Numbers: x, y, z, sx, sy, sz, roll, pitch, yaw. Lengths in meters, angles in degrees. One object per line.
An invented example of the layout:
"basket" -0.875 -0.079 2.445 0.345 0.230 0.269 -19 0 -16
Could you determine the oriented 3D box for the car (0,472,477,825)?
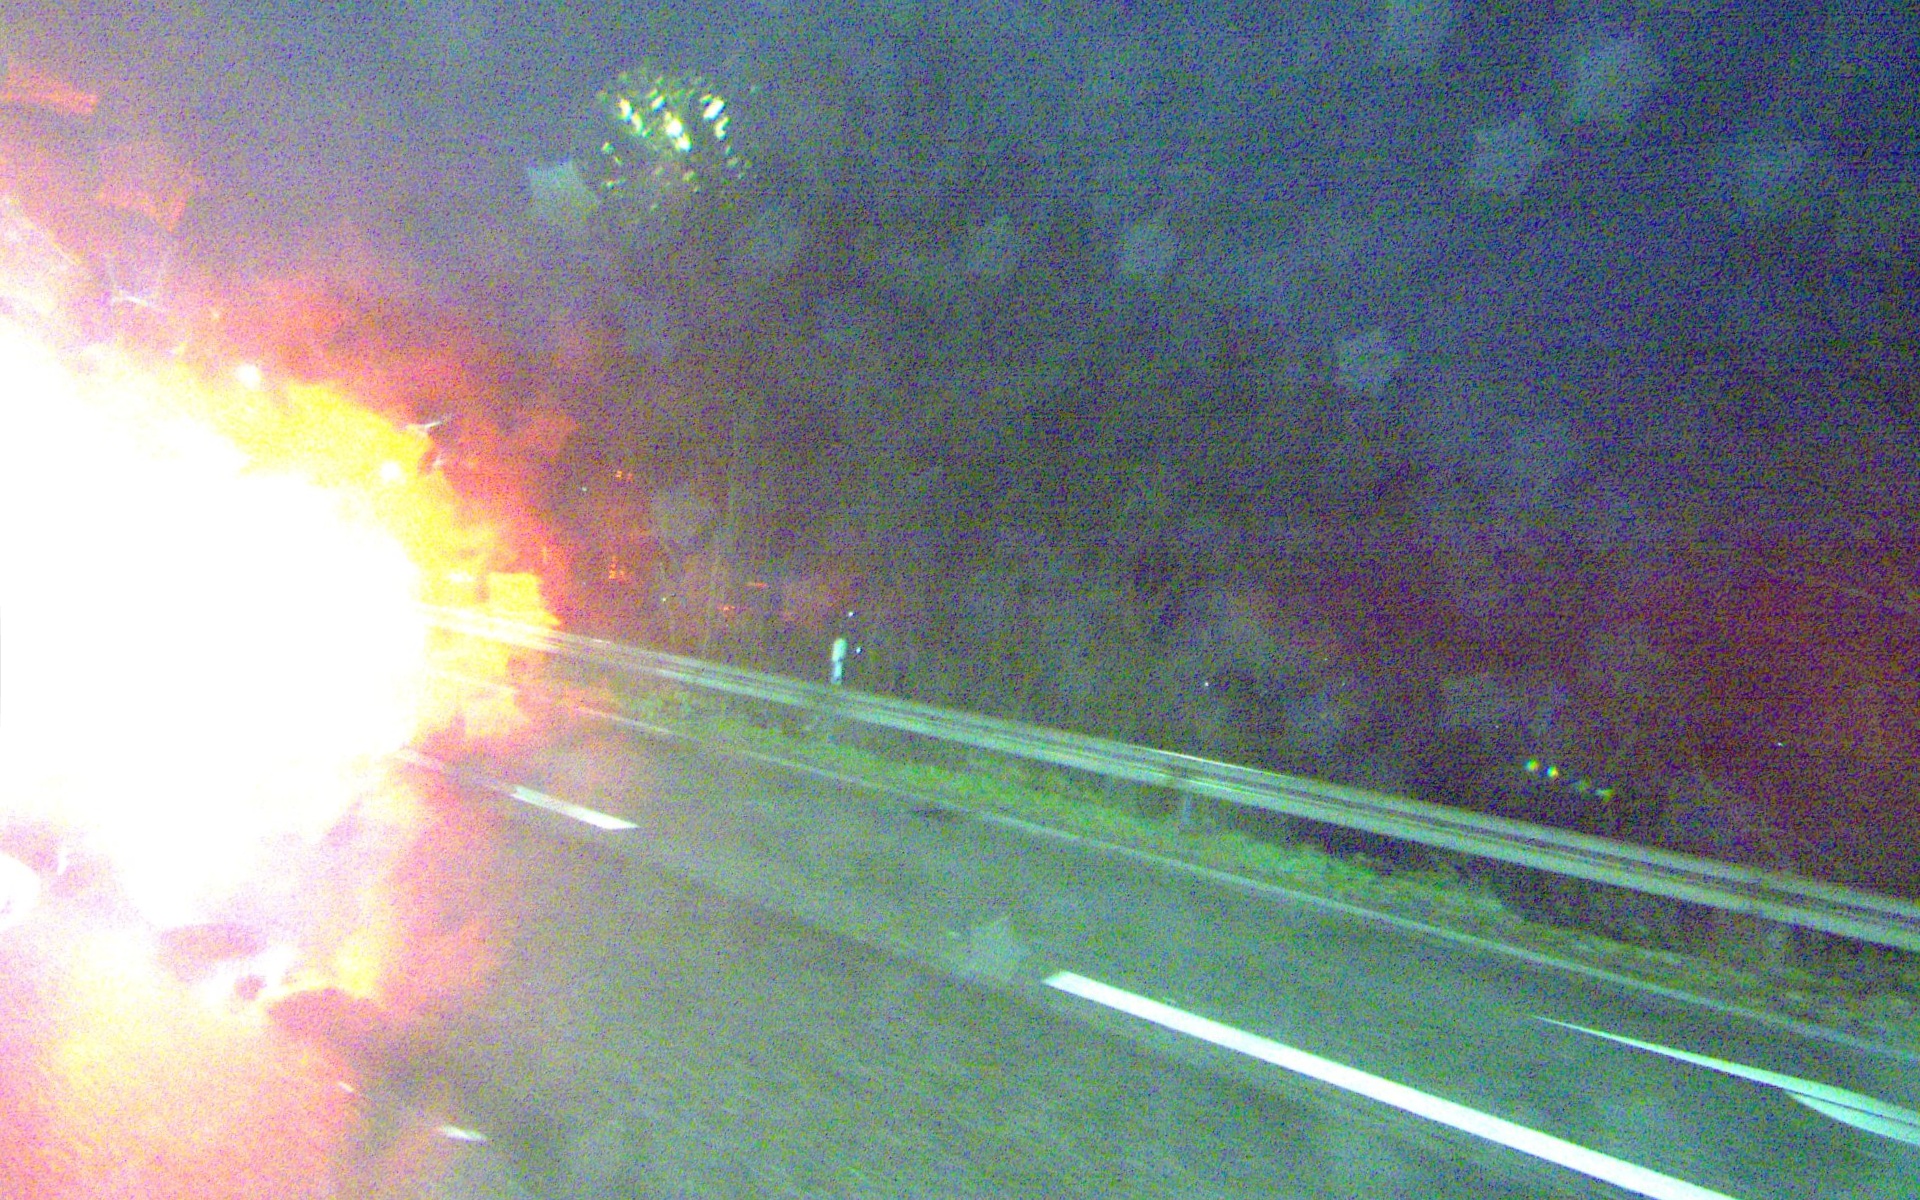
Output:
"car" -5.093 0.171 6.363 3.713 1.582 1.744 7 -3 31
